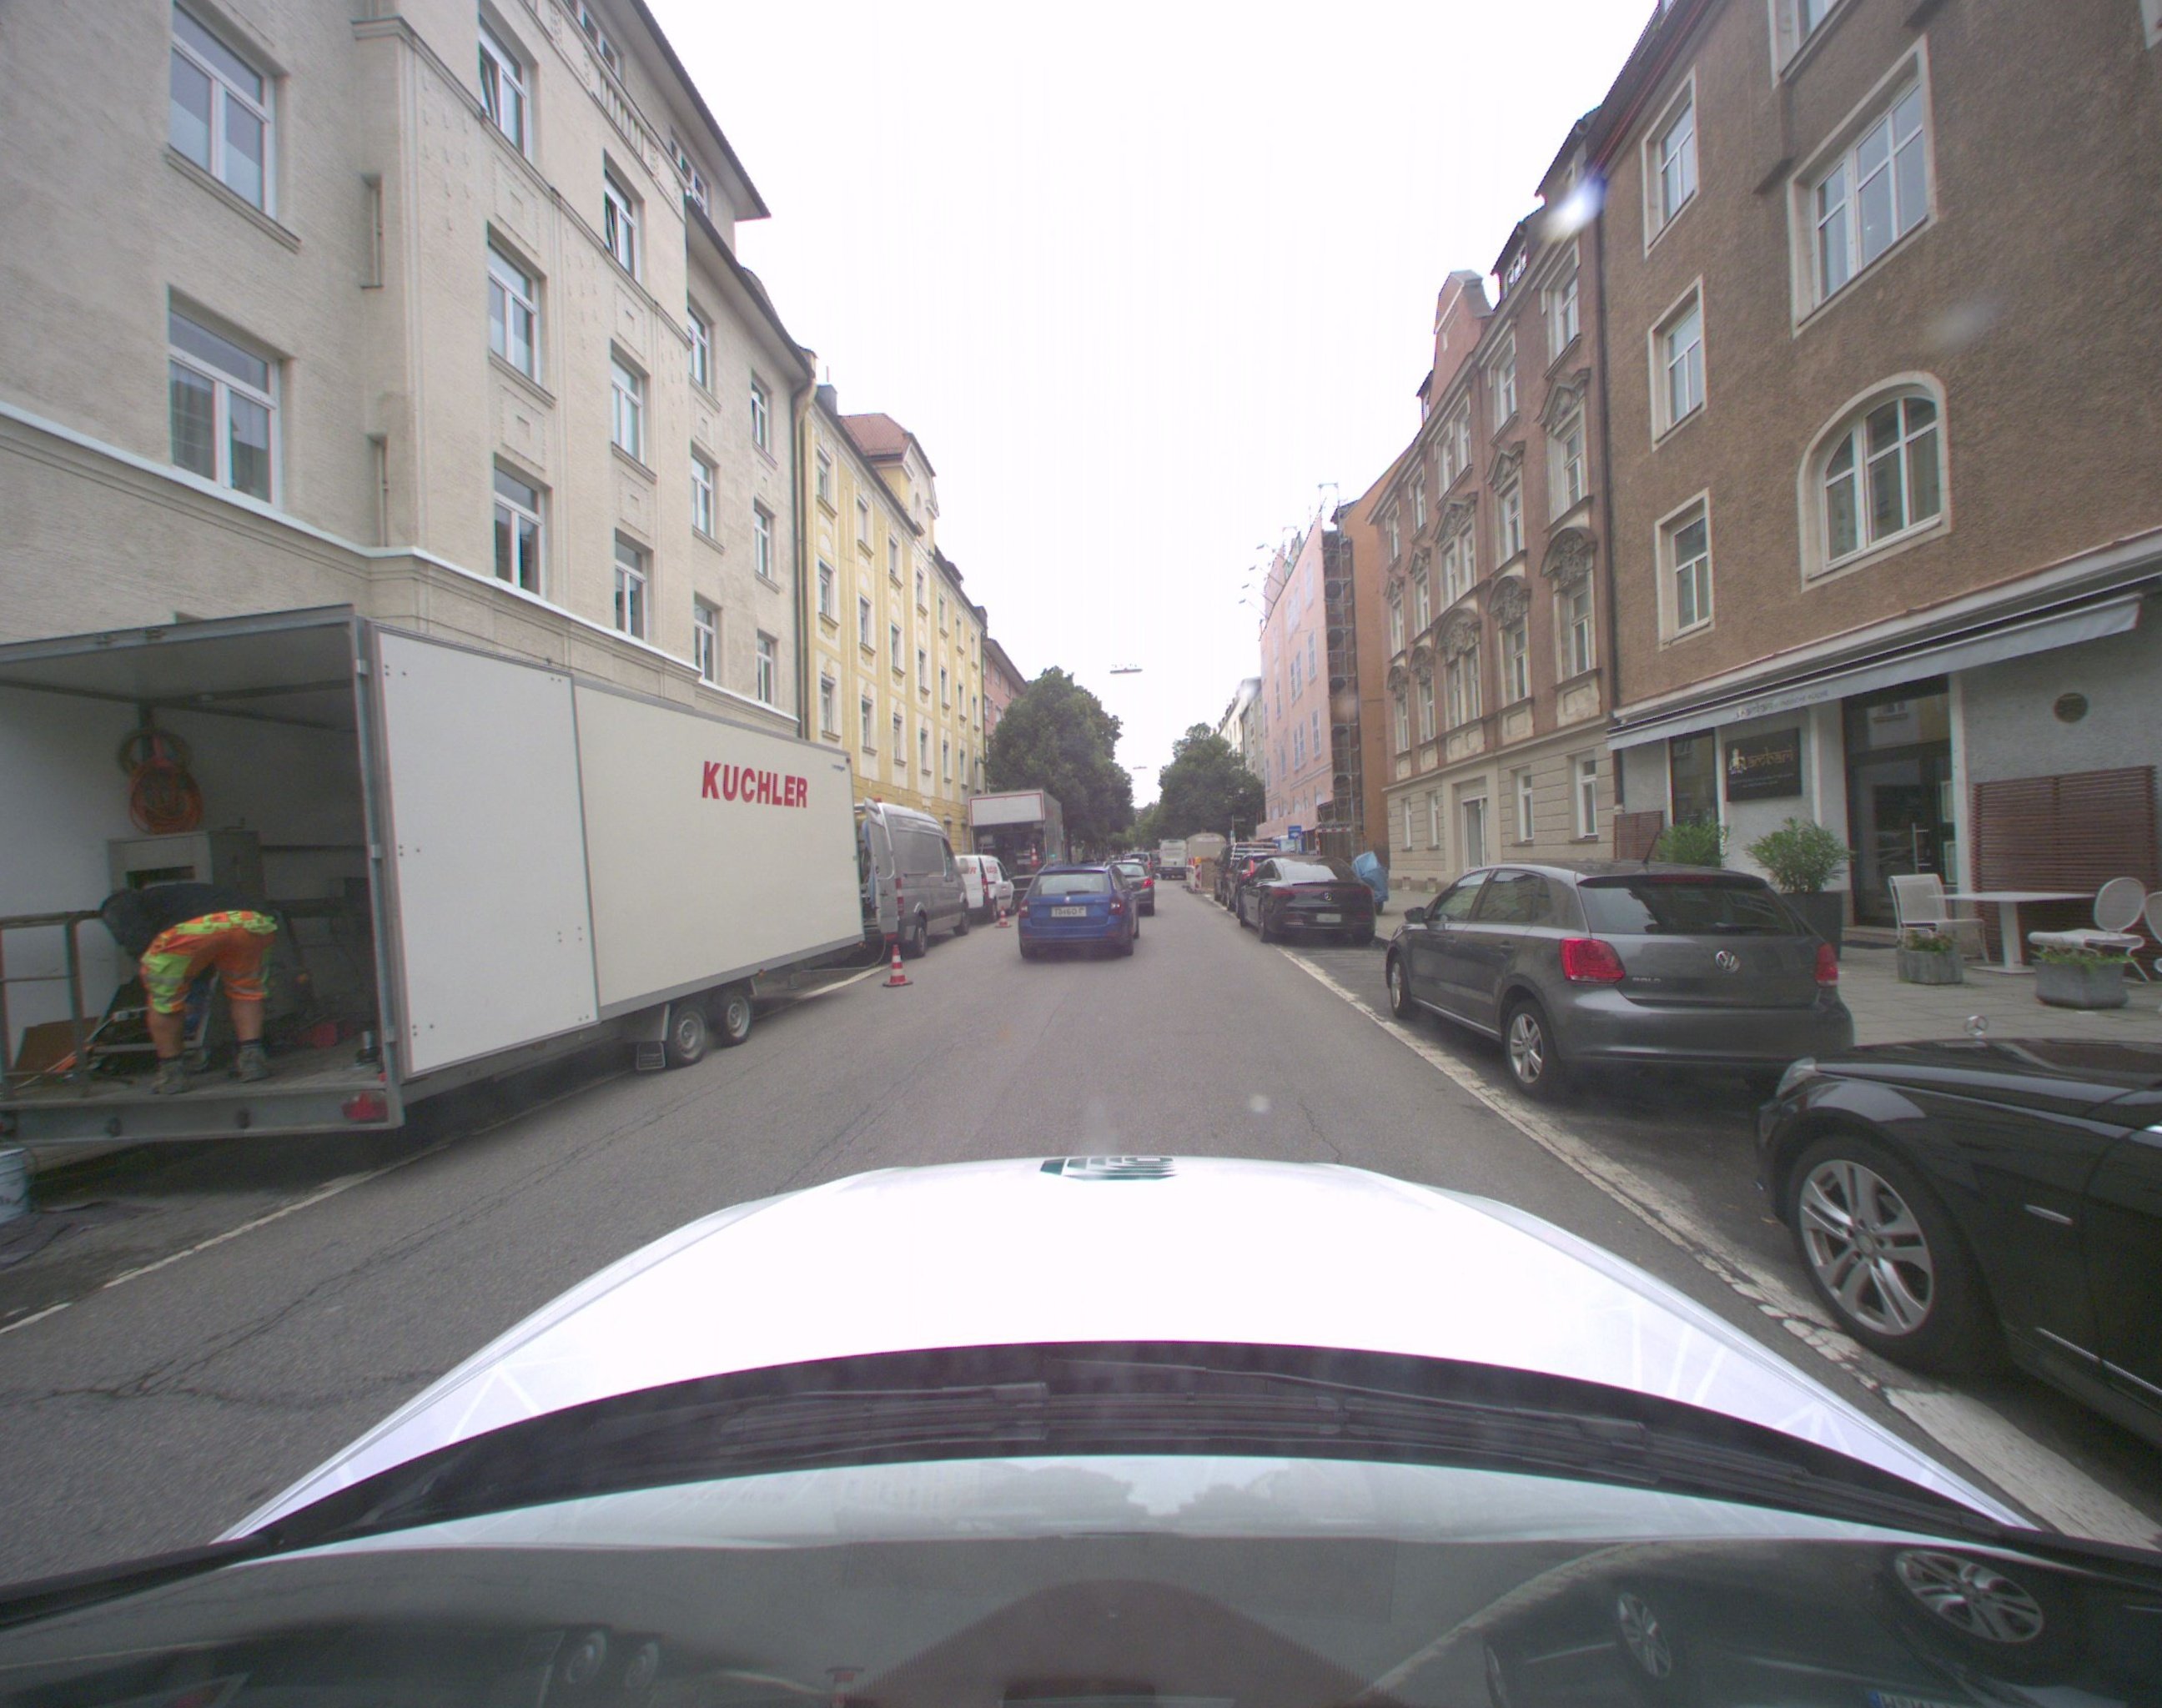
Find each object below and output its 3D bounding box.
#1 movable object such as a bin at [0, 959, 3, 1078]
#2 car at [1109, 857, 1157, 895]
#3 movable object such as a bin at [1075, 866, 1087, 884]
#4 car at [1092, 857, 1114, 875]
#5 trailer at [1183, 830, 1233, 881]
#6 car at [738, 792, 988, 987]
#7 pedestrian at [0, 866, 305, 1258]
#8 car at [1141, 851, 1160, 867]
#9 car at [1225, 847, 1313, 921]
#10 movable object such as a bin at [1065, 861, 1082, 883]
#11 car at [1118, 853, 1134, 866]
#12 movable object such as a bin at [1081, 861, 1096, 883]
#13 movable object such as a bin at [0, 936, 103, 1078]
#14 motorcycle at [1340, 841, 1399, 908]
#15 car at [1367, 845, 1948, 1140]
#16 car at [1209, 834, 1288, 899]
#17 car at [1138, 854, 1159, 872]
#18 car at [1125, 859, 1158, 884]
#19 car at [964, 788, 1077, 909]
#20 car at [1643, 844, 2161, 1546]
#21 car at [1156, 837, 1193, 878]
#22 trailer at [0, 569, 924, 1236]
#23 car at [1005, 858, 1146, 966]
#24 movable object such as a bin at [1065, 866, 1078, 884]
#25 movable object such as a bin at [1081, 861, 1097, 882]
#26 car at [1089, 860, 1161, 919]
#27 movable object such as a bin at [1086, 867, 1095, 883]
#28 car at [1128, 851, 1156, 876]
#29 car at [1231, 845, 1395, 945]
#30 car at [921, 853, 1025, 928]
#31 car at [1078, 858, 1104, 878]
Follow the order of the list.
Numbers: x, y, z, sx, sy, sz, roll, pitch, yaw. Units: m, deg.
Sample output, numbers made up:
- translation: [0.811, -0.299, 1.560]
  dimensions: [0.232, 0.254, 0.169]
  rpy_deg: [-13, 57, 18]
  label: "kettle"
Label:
- translation: [-9.427, 1.322, 6.507]
  dimensions: [0.645, 1.129, 0.732]
  rpy_deg: [-3, -1, 7]
  label: "movable object such as a bin"
- translation: [2.186, 0.882, 34.271]
  dimensions: [1.859, 1.454, 4.352]
  rpy_deg: [-1, 0, 4]
  label: "car"
- translation: [0.021, 1.387, 54.862]
  dimensions: [0.709, 1.148, 0.636]
  rpy_deg: [-4, 0, 1]
  label: "movable object such as a bin"
- translation: [2.025, 1.070, 74.264]
  dimensions: [1.805, 1.478, 4.003]
  rpy_deg: [-2, 0, 3]
  label: "car"
- translation: [7.596, 0.148, 49.346]
  dimensions: [2.490, 2.840, 6.910]
  rpy_deg: [-1, -1, 5]
  label: "trailer"
- translation: [-3.531, 0.525, 15.138]
  dimensions: [2.047, 2.587, 6.885]
  rpy_deg: [-6, -1, 4]
  label: "car"
- translation: [-4.379, 0.892, 3.857]
  dimensions: [0.762, 1.631, 0.634]
  rpy_deg: [-3, -1, -15]
  label: "pedestrian"
- translation: [7.620, 0.529, 89.162]
  dimensions: [1.998, 1.653, 4.353]
  rpy_deg: [-1, 0, 5]
  label: "car"
- translation: [4.739, 0.717, 21.104]
  dimensions: [1.685, 1.676, 4.414]
  rpy_deg: [1, -1, 6]
  label: "car"
- translation: [-0.497, 1.231, 55.734]
  dimensions: [1.078, 1.376, 1.084]
  rpy_deg: [-4, 0, 0]
  label: "movable object such as a bin"
- translation: [6.129, 0.764, 110.909]
  dimensions: [1.998, 1.653, 4.353]
  rpy_deg: [-1, 0, 5]
  label: "car"
- translation: [0.500, 1.225, 55.749]
  dimensions: [0.915, 1.376, 1.080]
  rpy_deg: [-4, 0, 0]
  label: "movable object such as a bin"
- translation: [-9.349, 1.330, 7.192]
  dimensions: [0.645, 1.129, 0.640]
  rpy_deg: [-3, -1, 7]
  label: "movable object such as a bin"
- translation: [6.878, 0.476, 19.502]
  dimensions: [0.867, 1.505, 2.001]
  rpy_deg: [-2, -1, 7]
  label: "motorcycle"
- translation: [3.557, 0.713, 6.108]
  dimensions: [1.565, 1.394, 4.187]
  rpy_deg: [-3, -1, 4]
  label: "car"
- translation: [5.469, 0.493, 27.242]
  dimensions: [2.072, 1.921, 5.148]
  rpy_deg: [-1, -3, 6]
  label: "car"
- translation: [6.439, 0.840, 77.511]
  dimensions: [1.858, 1.653, 4.353]
  rpy_deg: [-1, 0, 5]
  label: "car"
- translation: [3.651, 1.029, 49.136]
  dimensions: [1.859, 1.348, 4.352]
  rpy_deg: [-1, 0, 4]
  label: "car"
- translation: [-1.998, -0.128, 30.864]
  dimensions: [2.800, 3.817, 8.734]
  rpy_deg: [-3, -1, 4]
  label: "car"
- translation: [3.050, 0.684, 0.909]
  dimensions: [1.838, 1.405, 4.794]
  rpy_deg: [-2, -1, 5]
  label: "car"
- translation: [6.567, 0.267, 56.538]
  dimensions: [2.099, 2.664, 5.516]
  rpy_deg: [-1, -1, 11]
  label: "car"
- translation: [-4.156, 0.263, 7.656]
  dimensions: [2.789, 2.968, 7.615]
  rpy_deg: [-5, 0, 7]
  label: "trailer"
- translation: [0.084, 0.833, 13.681]
  dimensions: [1.780, 1.460, 4.322]
  rpy_deg: [-3, -1, 6]
  label: "car"
- translation: [-0.645, 1.436, 54.852]
  dimensions: [0.718, 1.138, 0.659]
  rpy_deg: [-4, 0, 1]
  label: "movable object such as a bin"
- translation: [0.581, 1.244, 56.845]
  dimensions: [1.016, 1.376, 1.103]
  rpy_deg: [-4, 0, 0]
  label: "movable object such as a bin"
- translation: [1.282, 0.905, 22.330]
  dimensions: [1.733, 1.422, 3.669]
  rpy_deg: [-3, -1, 5]
  label: "car"
- translation: [0.640, 1.384, 54.881]
  dimensions: [0.544, 1.020, 0.636]
  rpy_deg: [-4, 0, 1]
  label: "movable object such as a bin"
- translation: [4.818, 0.720, 64.225]
  dimensions: [1.856, 1.870, 4.358]
  rpy_deg: [-1, 0, 9]
  label: "car"
- translation: [4.234, 0.666, 15.881]
  dimensions: [1.922, 1.553, 5.643]
  rpy_deg: [-2, 0, 4]
  label: "car"
- translation: [-2.861, 0.931, 22.537]
  dimensions: [1.754, 1.779, 4.333]
  rpy_deg: [-4, -1, 6]
  label: "car"
- translation: [0.812, 1.069, 63.577]
  dimensions: [1.805, 1.478, 4.003]
  rpy_deg: [-2, 0, 3]
  label: "car"
